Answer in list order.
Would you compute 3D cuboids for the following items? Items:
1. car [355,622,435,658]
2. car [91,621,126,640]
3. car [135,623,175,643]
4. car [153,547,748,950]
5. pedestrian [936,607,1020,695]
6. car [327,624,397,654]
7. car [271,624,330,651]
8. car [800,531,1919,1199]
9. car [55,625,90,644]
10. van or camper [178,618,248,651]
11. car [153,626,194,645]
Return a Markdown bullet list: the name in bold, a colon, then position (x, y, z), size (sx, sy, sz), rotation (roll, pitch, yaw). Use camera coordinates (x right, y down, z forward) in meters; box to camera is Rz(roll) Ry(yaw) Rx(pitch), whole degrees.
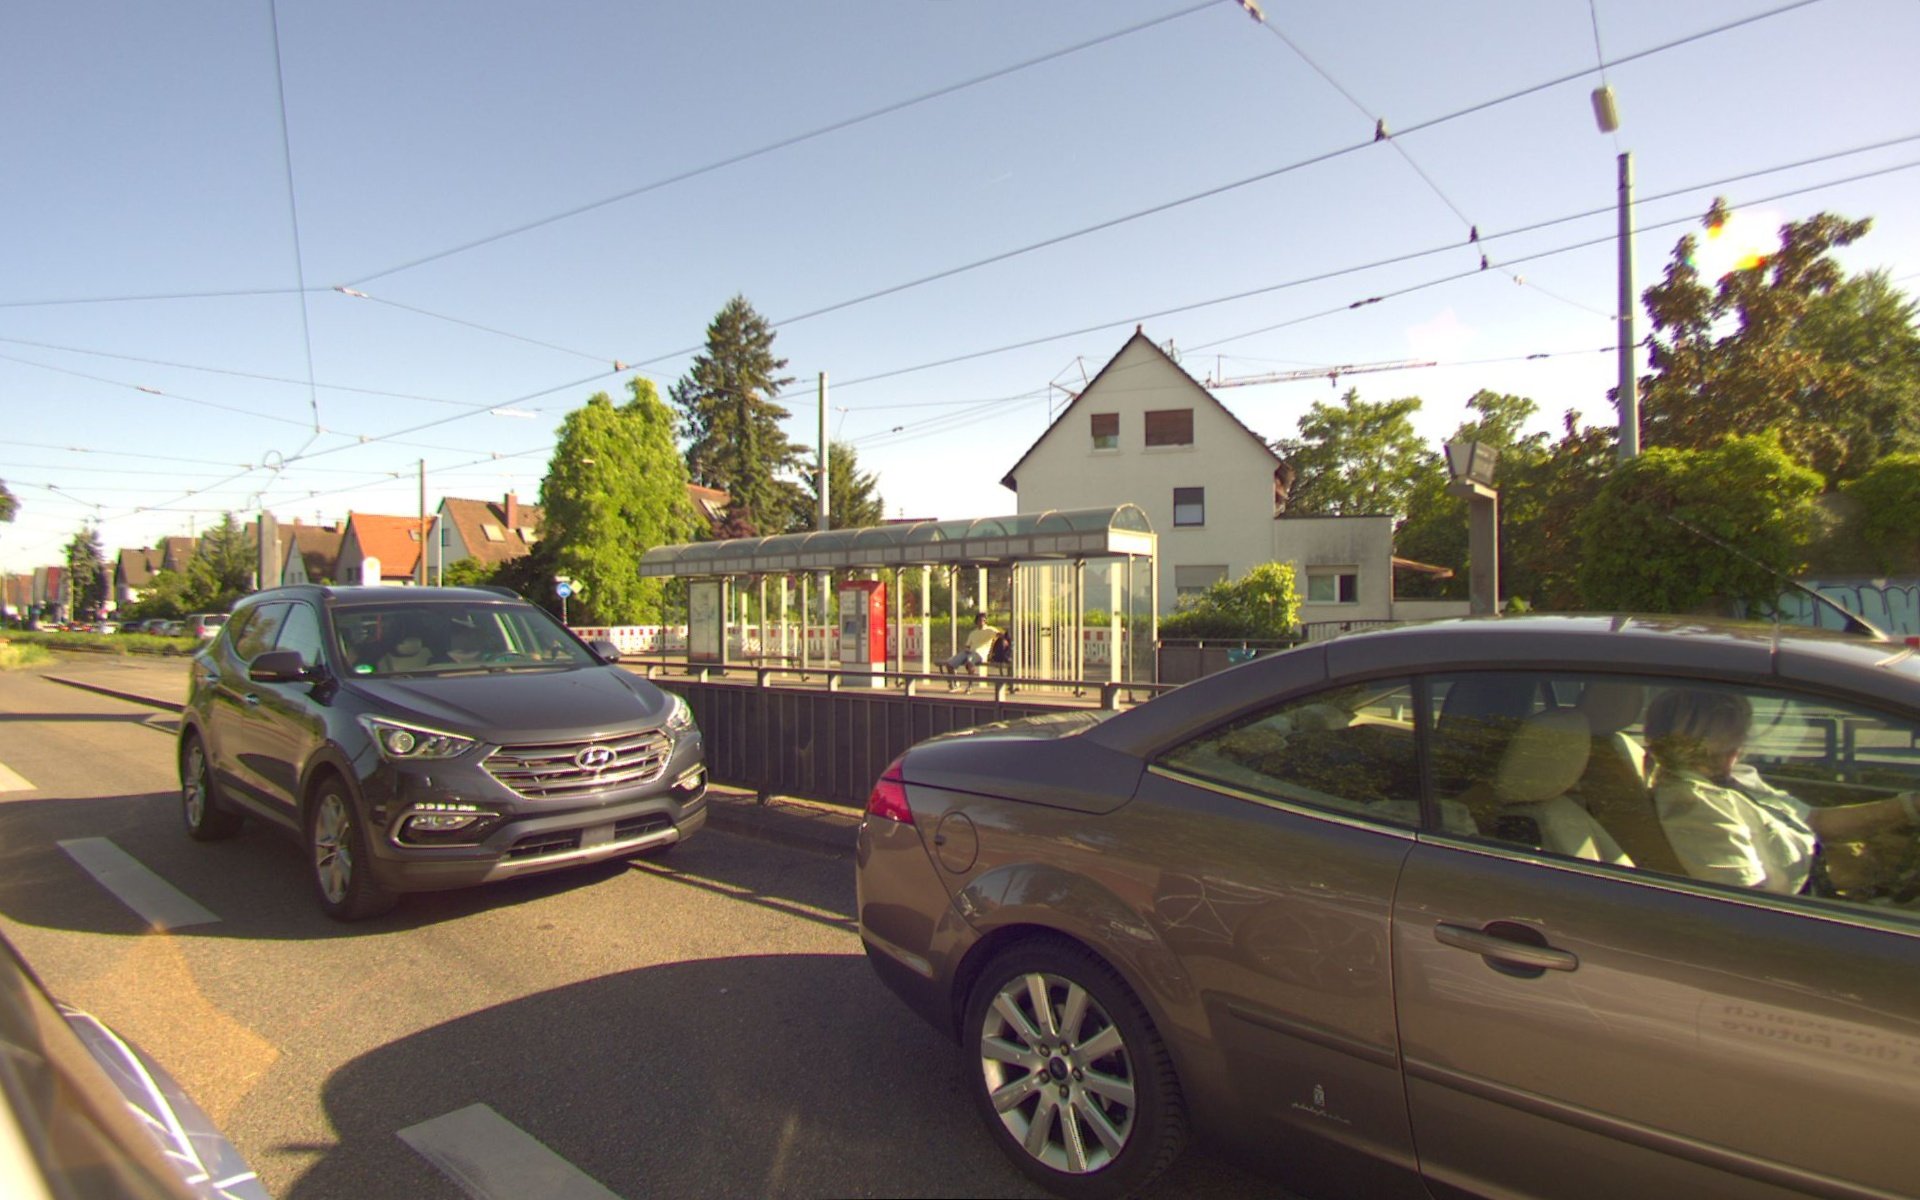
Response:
- **car**: position (-23.091, 1.607, 41.309), size (4.014, 1.413, 1.587), rotation (-1, -2, 41)
- **car**: position (-84.625, 3.017, 100.550), size (4.582, 1.877, 1.973), rotation (-2, -1, 41)
- **car**: position (-69.209, 2.851, 86.966), size (4.534, 1.573, 1.864), rotation (-2, 0, 41)
- **car**: position (-3.334, 0.664, 6.212), size (4.285, 1.642, 1.757), rotation (-2, -2, 41)
- **pedestrian**: position (0.319, 0.879, 17.512), size (1.006, 1.464, 1.050), rotation (-1, -3, 40)
- **car**: position (-32.981, 2.121, 55.803), size (4.610, 1.483, 1.865), rotation (-1, 0, 40)
- **car**: position (-40.473, 2.277, 62.092), size (4.438, 1.477, 1.887), rotation (-1, 0, 41)
- **car**: position (1.729, 0.650, 2.274), size (4.331, 1.461, 1.757), rotation (-2, -2, 41)
- **car**: position (-77.100, 2.995, 87.911), size (4.341, 1.532, 1.717), rotation (-2, -2, 41)
- **van or camper**: position (-43.521, 2.010, 58.874), size (5.983, 1.842, 1.973), rotation (-2, -2, 40)
- **car**: position (-65.208, 2.917, 83.873), size (4.837, 1.483, 1.864), rotation (-2, 0, 42)
